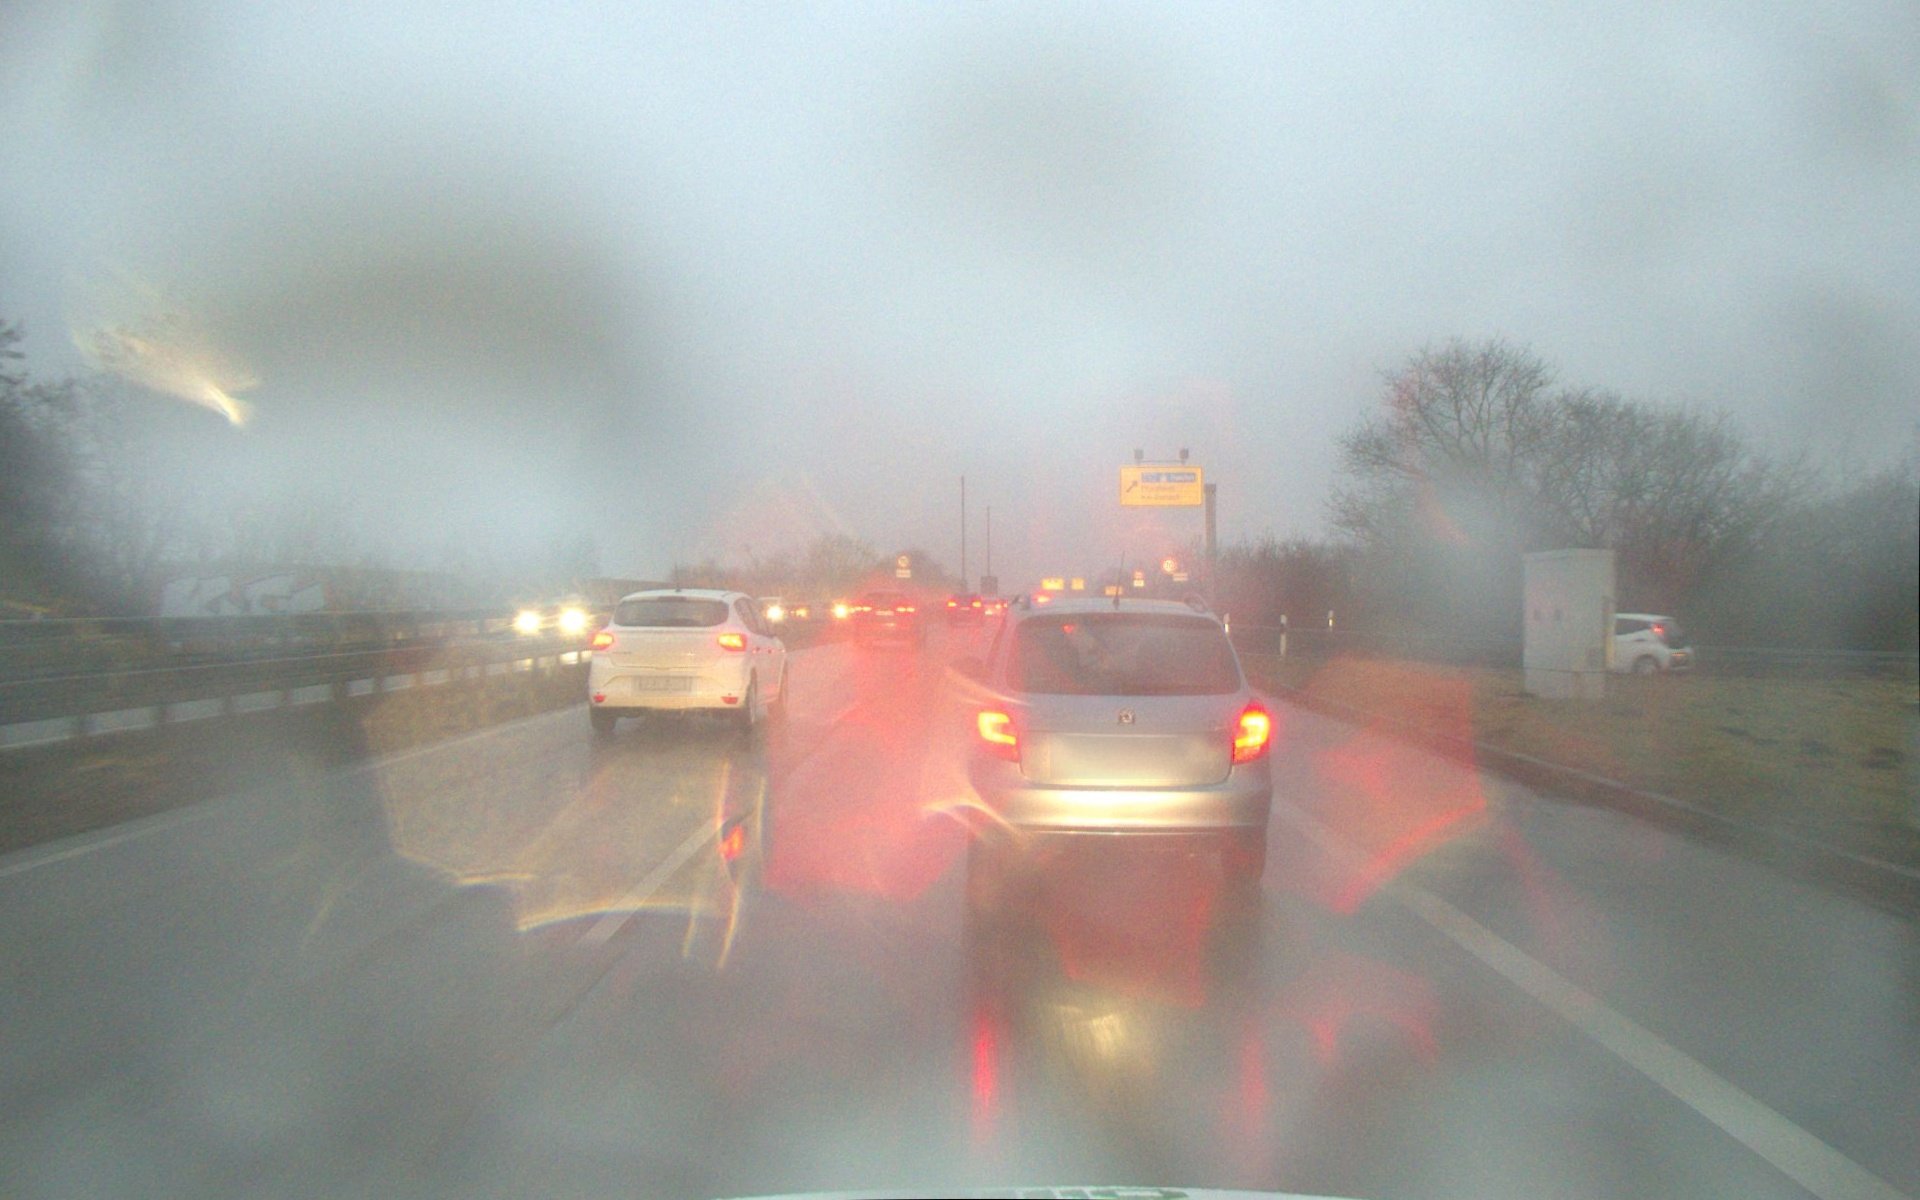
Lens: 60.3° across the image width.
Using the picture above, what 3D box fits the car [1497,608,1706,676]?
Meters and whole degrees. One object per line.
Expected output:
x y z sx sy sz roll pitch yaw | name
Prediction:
14.227 0.888 36.784 3.927 1.369 1.989 0 0 41 | car

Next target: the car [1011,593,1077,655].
2.492 0.678 49.915 1.858 1.798 4.309 0 0 1 | car

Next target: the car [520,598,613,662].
-12.657 0.931 53.491 1.953 1.952 4.287 1 0 0 | car

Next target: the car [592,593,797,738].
-2.906 0.657 18.937 1.689 1.465 4.225 0 0 -1 | car

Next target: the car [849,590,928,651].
-1.997 0.550 47.332 1.952 1.629 4.309 2 0 1 | car

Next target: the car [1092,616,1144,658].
6.197 1.437 65.356 1.752 1.572 4.001 0 0 1 | car

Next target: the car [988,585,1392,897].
1.168 0.702 10.217 1.952 1.527 4.137 0 0 0 | car

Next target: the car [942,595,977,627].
-0.067 0.535 84.894 1.753 1.572 3.999 0 0 -1 | car
